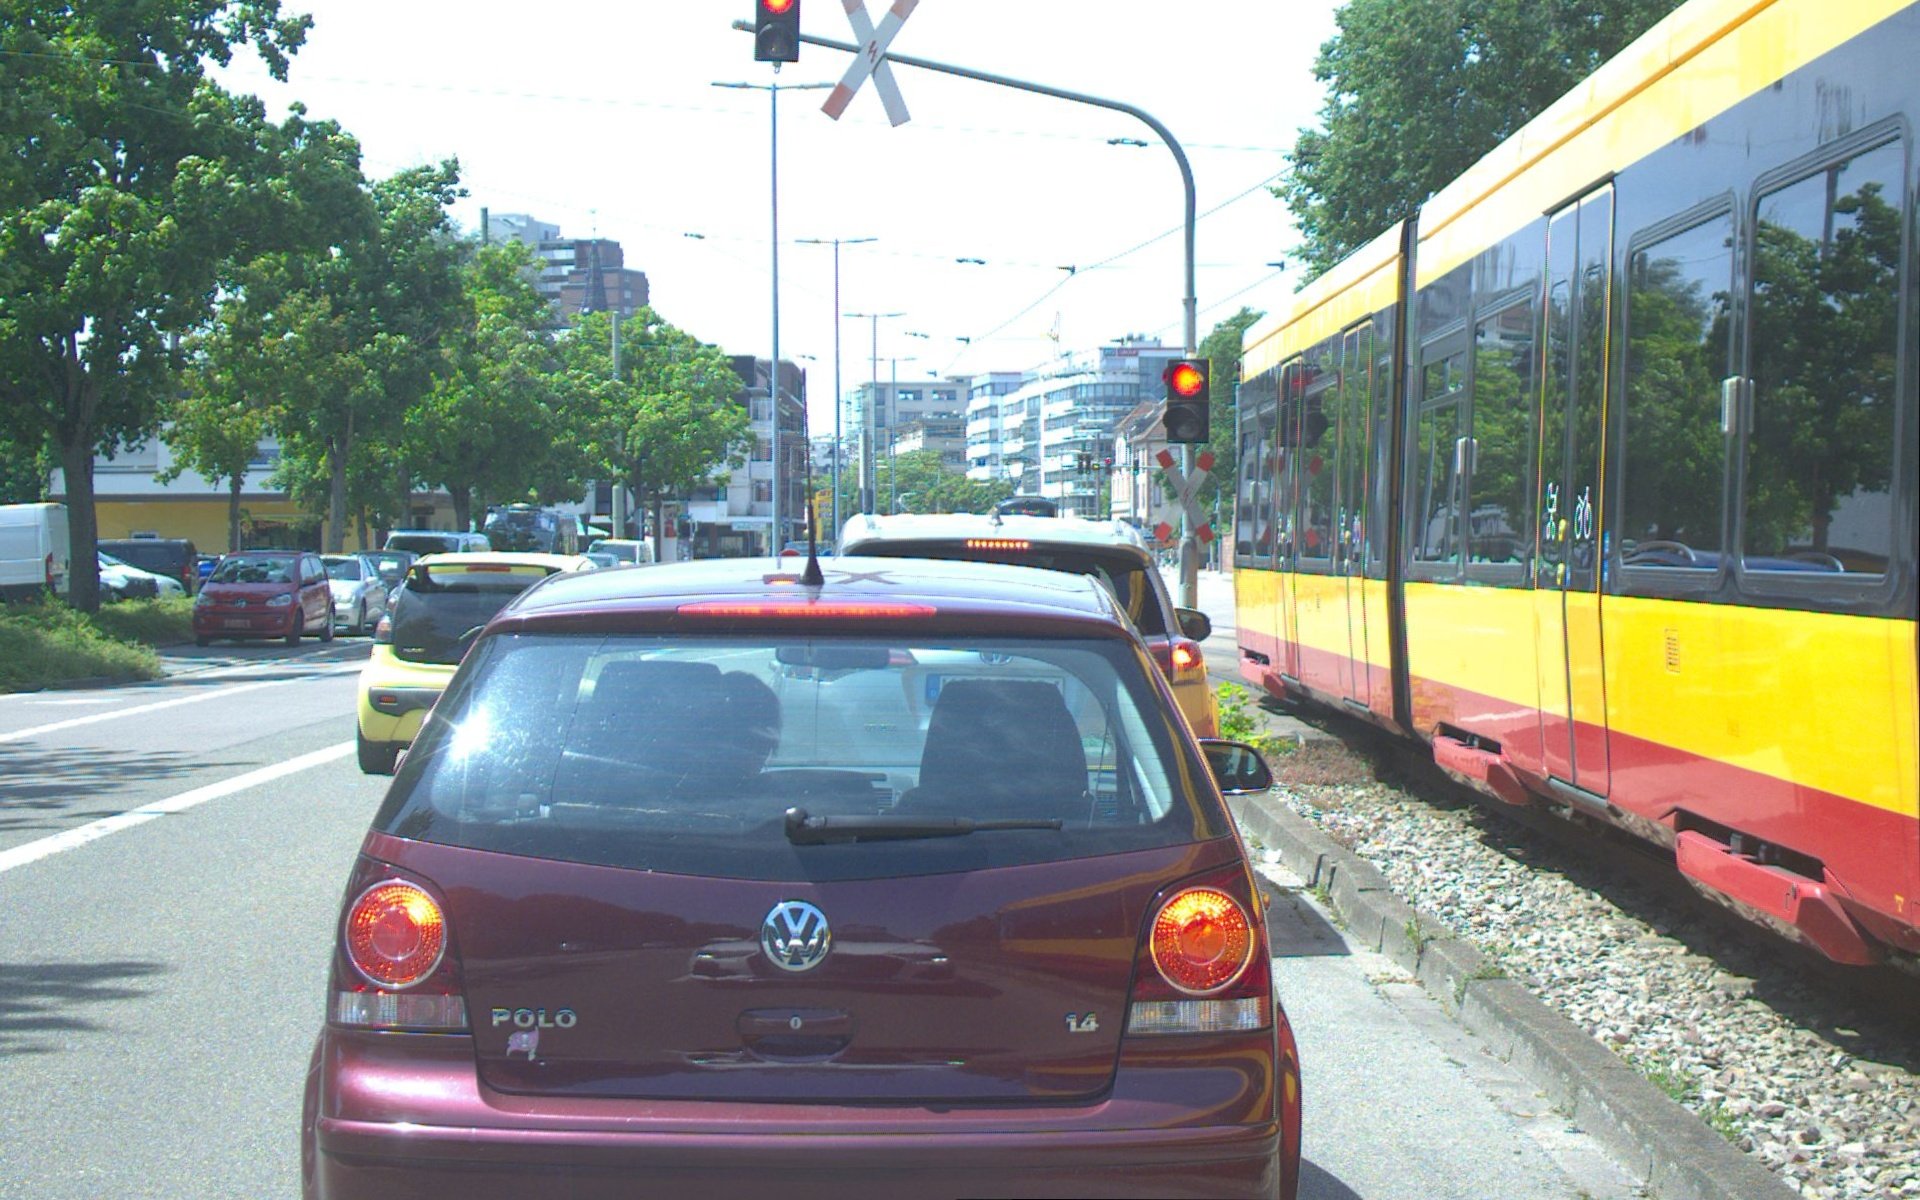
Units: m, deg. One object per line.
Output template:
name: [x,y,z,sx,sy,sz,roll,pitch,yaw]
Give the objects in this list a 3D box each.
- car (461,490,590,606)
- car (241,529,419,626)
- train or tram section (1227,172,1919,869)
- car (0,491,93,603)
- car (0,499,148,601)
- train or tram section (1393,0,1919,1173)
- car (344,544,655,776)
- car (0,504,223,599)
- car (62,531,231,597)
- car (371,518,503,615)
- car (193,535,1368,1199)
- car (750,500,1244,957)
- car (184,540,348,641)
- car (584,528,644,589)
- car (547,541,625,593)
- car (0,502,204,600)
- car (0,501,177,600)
car: [-10.596,-1.238,84.215,2.361,2.683,5.307,2,0,0]
car: [-11.113,-0.399,60.939,1.976,1.595,4.557,2,0,4]
train or tram section: [3.688,-0.536,23.610,2.741,3.597,10.950,2,1,0]
car: [-20.793,-1.141,70.975,5.097,2.237,2.378,2,0,1]
car: [-21.548,-1.172,79.064,5.097,2.237,2.378,2,0,1]
train or tram section: [3.742,-0.473,12.913,2.741,3.597,10.950,2,1,0]
car: [-3.054,0.350,23.391,1.690,1.406,3.516,1,1,-1]
car: [-21.576,-1.221,87.406,5.097,2.237,2.378,2,0,1]
car: [-21.688,-0.956,91.729,4.020,1.611,1.816,2,0,1]
car: [-10.785,-0.685,71.176,1.783,1.875,4.785,2,0,2]
car: [-0.299,0.628,6.910,1.672,1.516,4.000,0,1,-1]
car: [0.090,0.431,14.633,1.777,1.641,4.000,1,1,-1]
car: [-10.936,-0.151,54.392,1.663,1.491,4.000,2,0,1]
car: [-10.807,-1.302,107.500,1.774,1.822,4.001,2,0,-6]
car: [-11.001,-0.961,101.427,1.614,1.436,4.000,2,0,3]
car: [-21.474,-1.202,84.726,5.097,2.237,2.378,2,0,1]
car: [-21.592,-1.192,82.252,5.097,2.237,2.378,2,0,1]
